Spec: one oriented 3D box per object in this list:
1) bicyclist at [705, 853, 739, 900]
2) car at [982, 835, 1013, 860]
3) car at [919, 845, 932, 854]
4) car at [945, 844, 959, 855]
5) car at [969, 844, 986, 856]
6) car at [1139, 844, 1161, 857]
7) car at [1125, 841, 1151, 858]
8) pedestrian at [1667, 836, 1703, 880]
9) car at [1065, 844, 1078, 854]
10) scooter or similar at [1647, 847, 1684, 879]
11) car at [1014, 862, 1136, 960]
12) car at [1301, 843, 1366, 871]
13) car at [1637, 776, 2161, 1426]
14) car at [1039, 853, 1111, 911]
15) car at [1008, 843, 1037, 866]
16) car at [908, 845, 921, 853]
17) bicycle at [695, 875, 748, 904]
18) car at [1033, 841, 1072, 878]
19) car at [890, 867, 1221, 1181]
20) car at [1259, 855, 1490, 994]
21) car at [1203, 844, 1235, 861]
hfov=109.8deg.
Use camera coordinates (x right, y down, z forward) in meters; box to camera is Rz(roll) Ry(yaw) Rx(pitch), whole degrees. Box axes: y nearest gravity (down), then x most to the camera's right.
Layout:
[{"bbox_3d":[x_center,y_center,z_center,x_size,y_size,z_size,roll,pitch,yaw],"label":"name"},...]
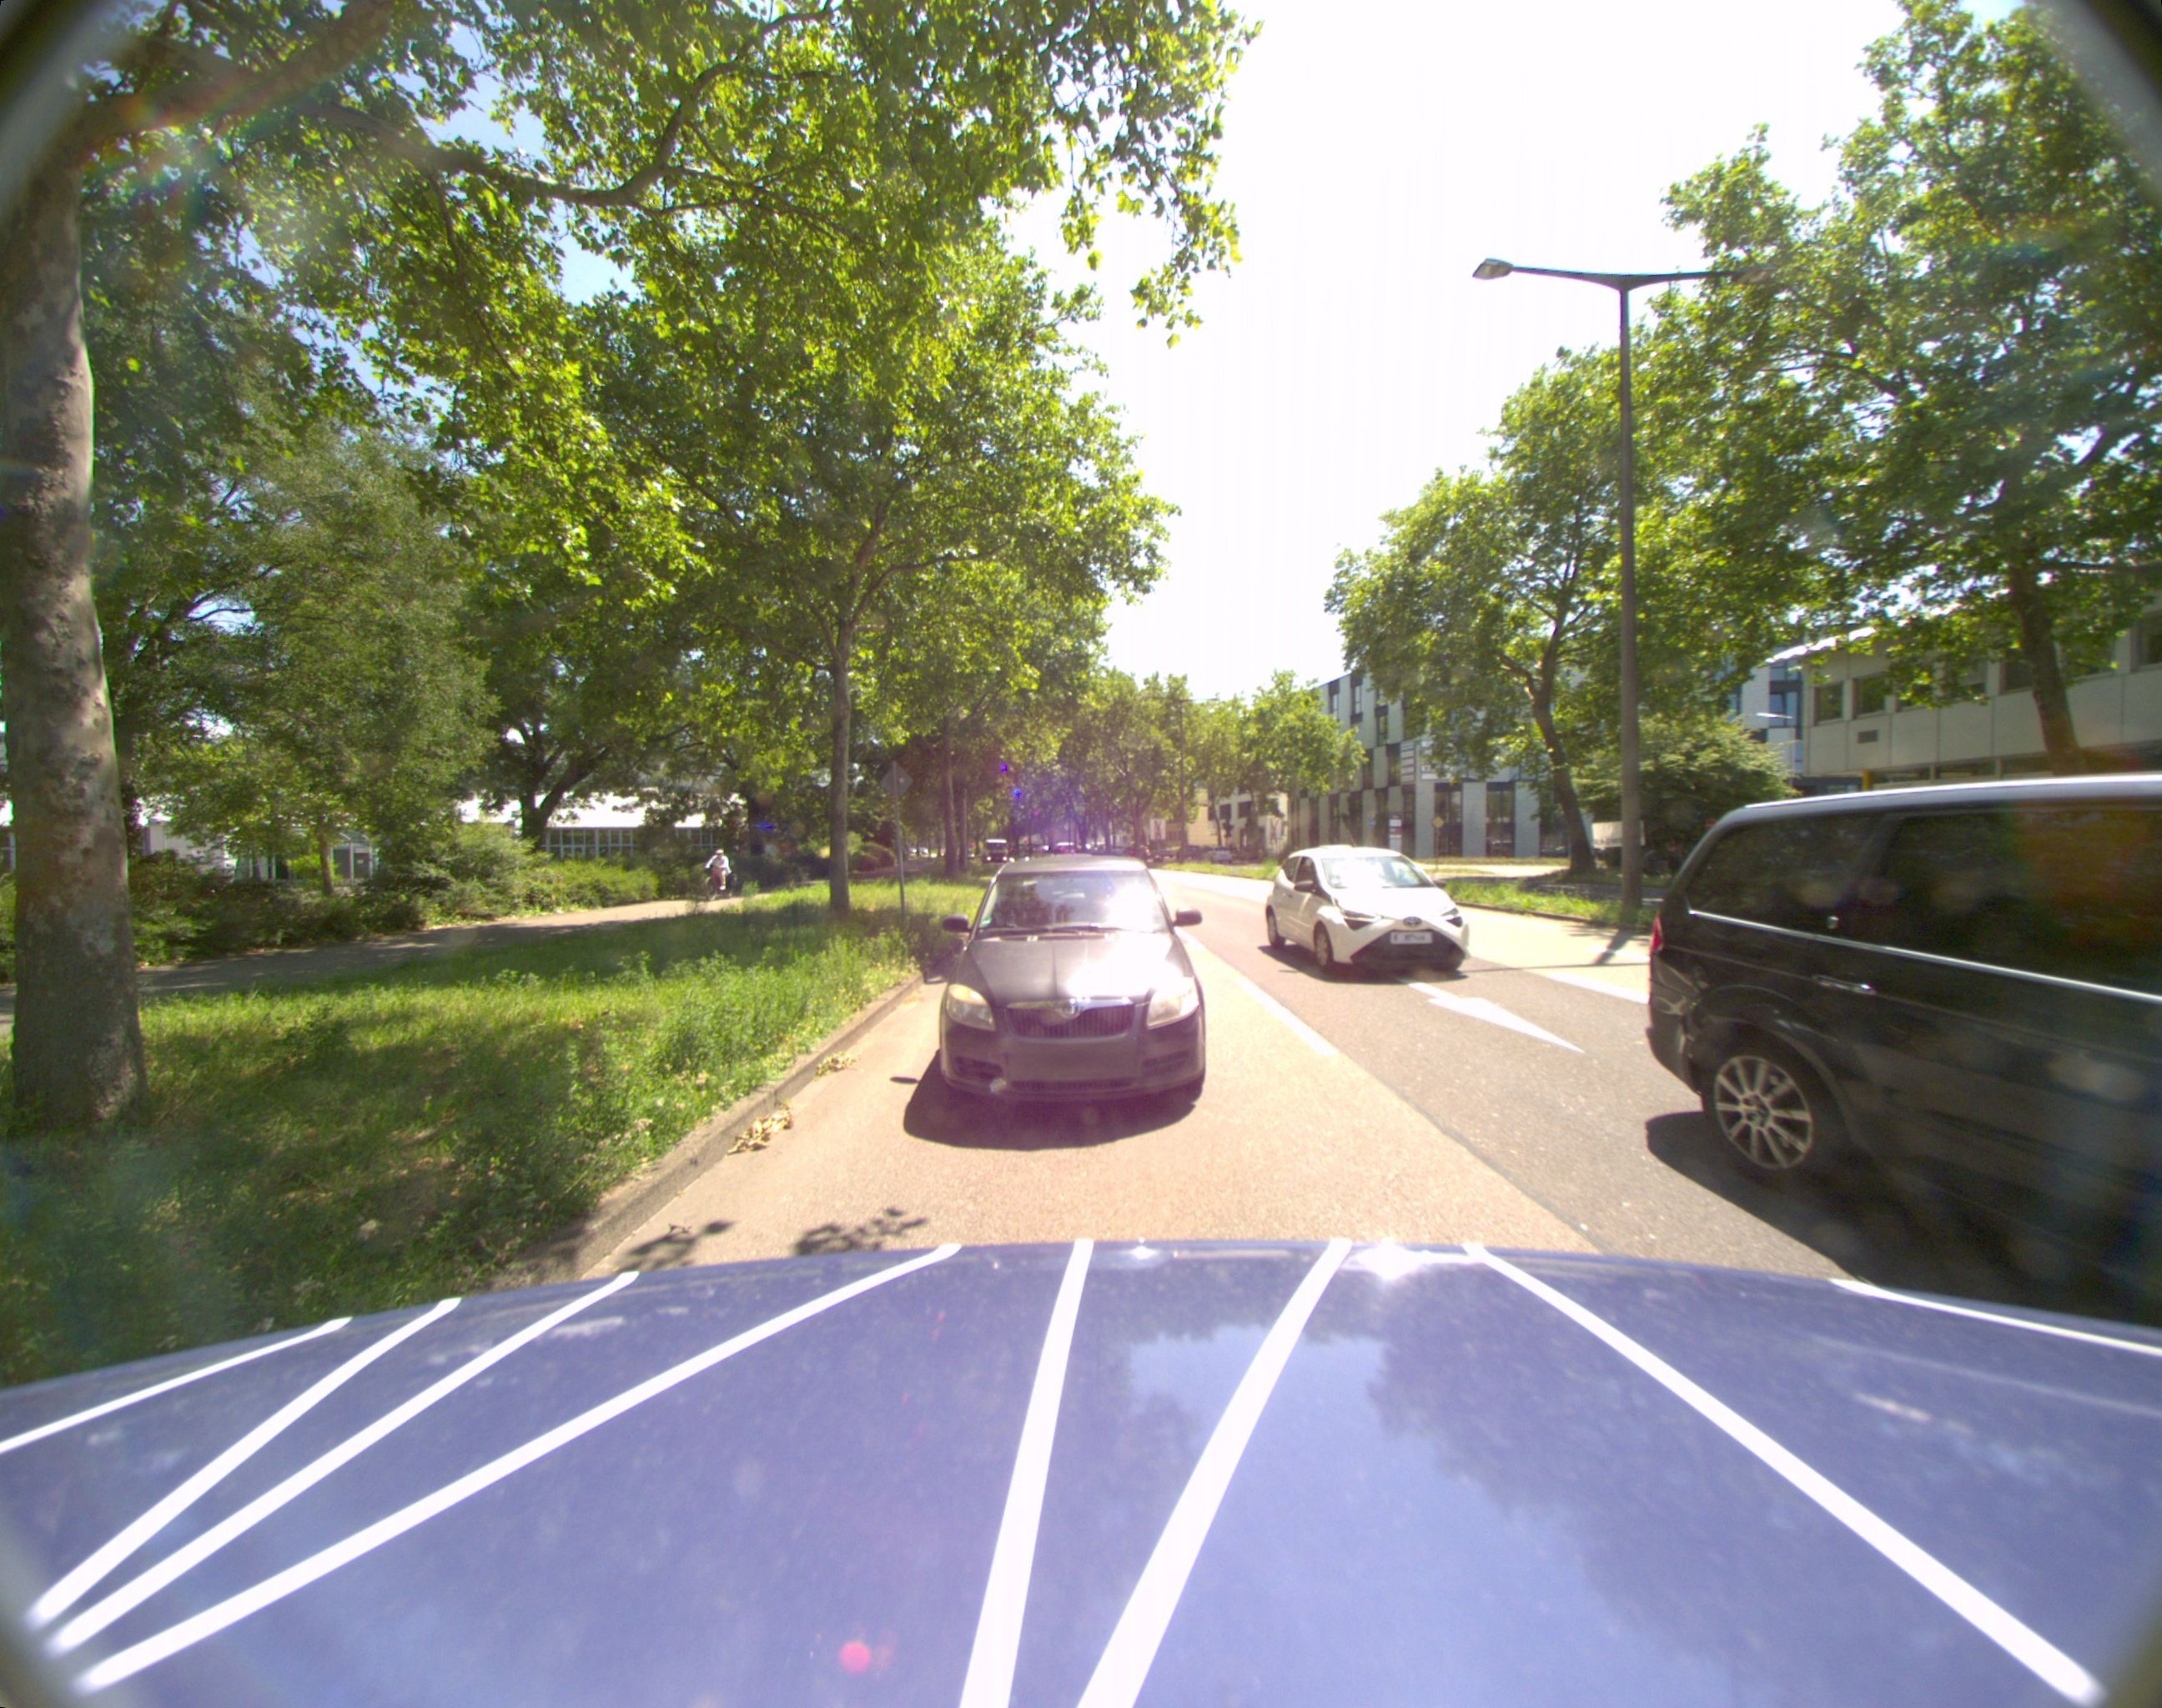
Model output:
[{"bbox_3d":[-10.587,0.656,22.397,0.600,1.331,0.667,0,1,13],"label":"bicyclist"},{"bbox_3d":[-9.527,-0.736,86.157,2.921,2.639,6.358,-1,1,-12],"label":"car"},{"bbox_3d":[-32.918,-1.029,160.573,2.002,1.827,3.992,-1,1,-22],"label":"car"},{"bbox_3d":[-21.651,-0.794,127.612,2.001,1.827,3.994,-1,1,-15],"label":"car"},{"bbox_3d":[-15.112,-0.572,110.543,2.001,1.608,3.994,-1,1,-15],"label":"car"},{"bbox_3d":[7.783,-0.448,85.904,1.757,1.435,3.670,-1,1,-6],"label":"car"},{"bbox_3d":[5.889,-0.464,78.866,1.955,1.646,4.618,-1,1,-4],"label":"car"},{"bbox_3d":[21.744,0.124,27.361,0.643,1.551,0.790,-1,1,-6],"label":"pedestrian"},{"bbox_3d":[-1.363,-0.716,109.166,1.537,1.519,2.852,-1,1,-7],"label":"car"},{"bbox_3d":[21.688,0.314,28.198,0.680,1.157,0.858,-1,1,-6],"label":"scooter or similar"},{"bbox_3d":[-0.078,0.875,13.203,1.791,1.325,3.742,-1,1,0],"label":"car"},{"bbox_3d":[13.913,0.128,42.111,1.858,1.410,4.545,-1,1,-3],"label":"car"},{"bbox_3d":[3.807,0.651,1.665,1.858,1.745,4.648,-1,1,1],"label":"car"},{"bbox_3d":[-0.142,0.745,22.026,1.878,1.448,3.785,-1,1,0],"label":"car"},{"bbox_3d":[-4.784,0.012,62.030,2.000,1.783,3.996,-1,1,-10],"label":"car"},{"bbox_3d":[-38.015,-1.103,173.231,2.002,1.827,3.991,-1,1,-24],"label":"car"},{"bbox_3d":[-10.538,1.025,22.320,0.464,0.760,1.669,0,1,13],"label":"bicycle"},{"bbox_3d":[-1.534,0.287,41.416,1.999,1.871,3.999,-1,0,-2],"label":"car"},{"bbox_3d":[-0.119,0.902,5.798,1.654,1.454,3.864,-1,1,0],"label":"car"},{"bbox_3d":[3.586,0.760,10.003,1.623,1.437,3.651,0,1,0],"label":"car"},{"bbox_3d":[11.692,-0.144,64.477,1.737,1.451,3.671,-1,1,-5],"label":"car"}]
